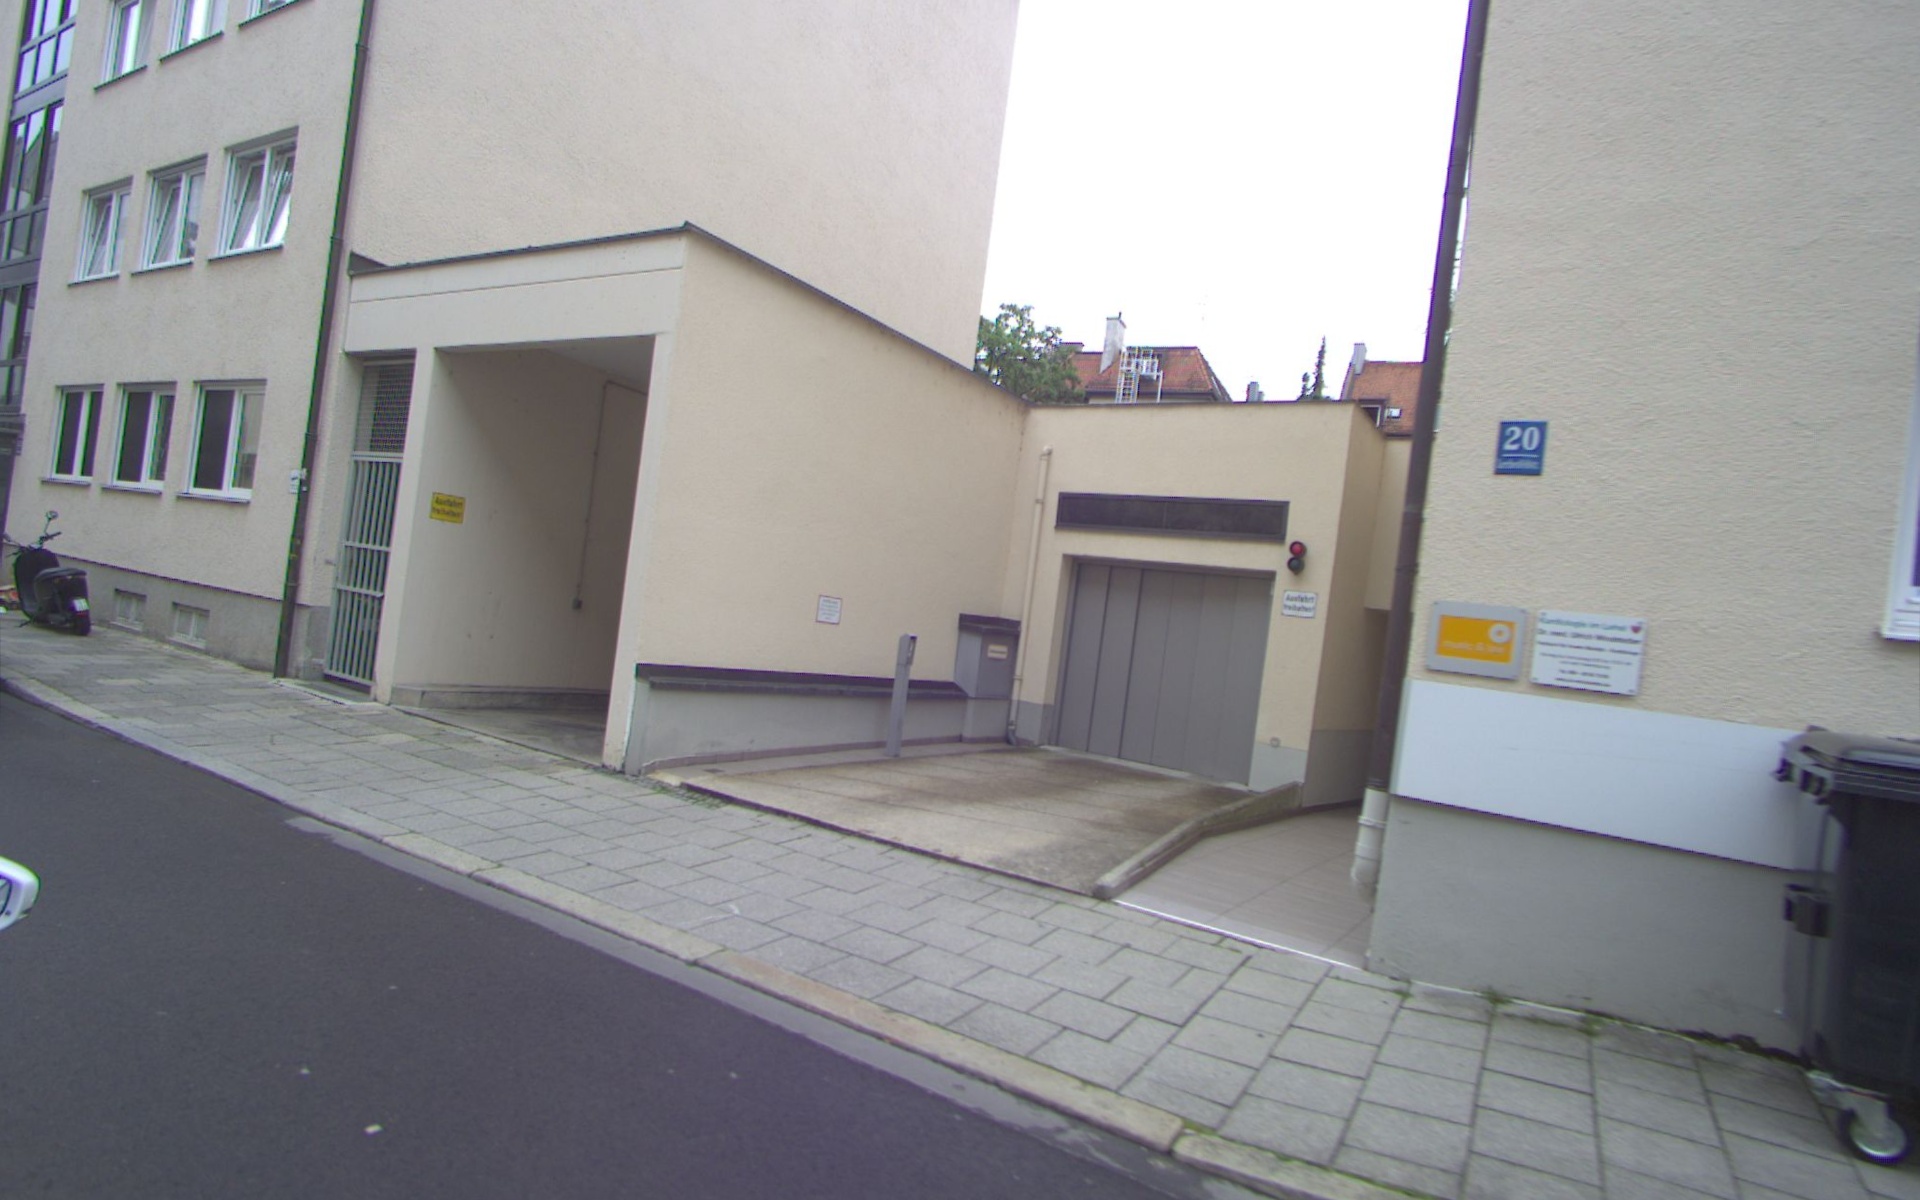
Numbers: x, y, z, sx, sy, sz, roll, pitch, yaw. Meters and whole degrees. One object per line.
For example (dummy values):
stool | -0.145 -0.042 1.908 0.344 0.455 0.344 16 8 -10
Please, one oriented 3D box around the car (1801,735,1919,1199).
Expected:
car | 3.252 1.124 0.192 4.454 1.487 1.722 6 -3 29

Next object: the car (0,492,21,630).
car | -9.865 -0.320 8.431 4.174 1.626 1.716 6 -3 31

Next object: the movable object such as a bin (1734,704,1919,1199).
movable object such as a bin | 3.619 1.172 3.230 1.560 1.441 1.033 6 0 32

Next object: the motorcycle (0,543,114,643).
motorcycle | -10.639 -0.096 11.808 1.879 0.981 0.481 6 3 31
